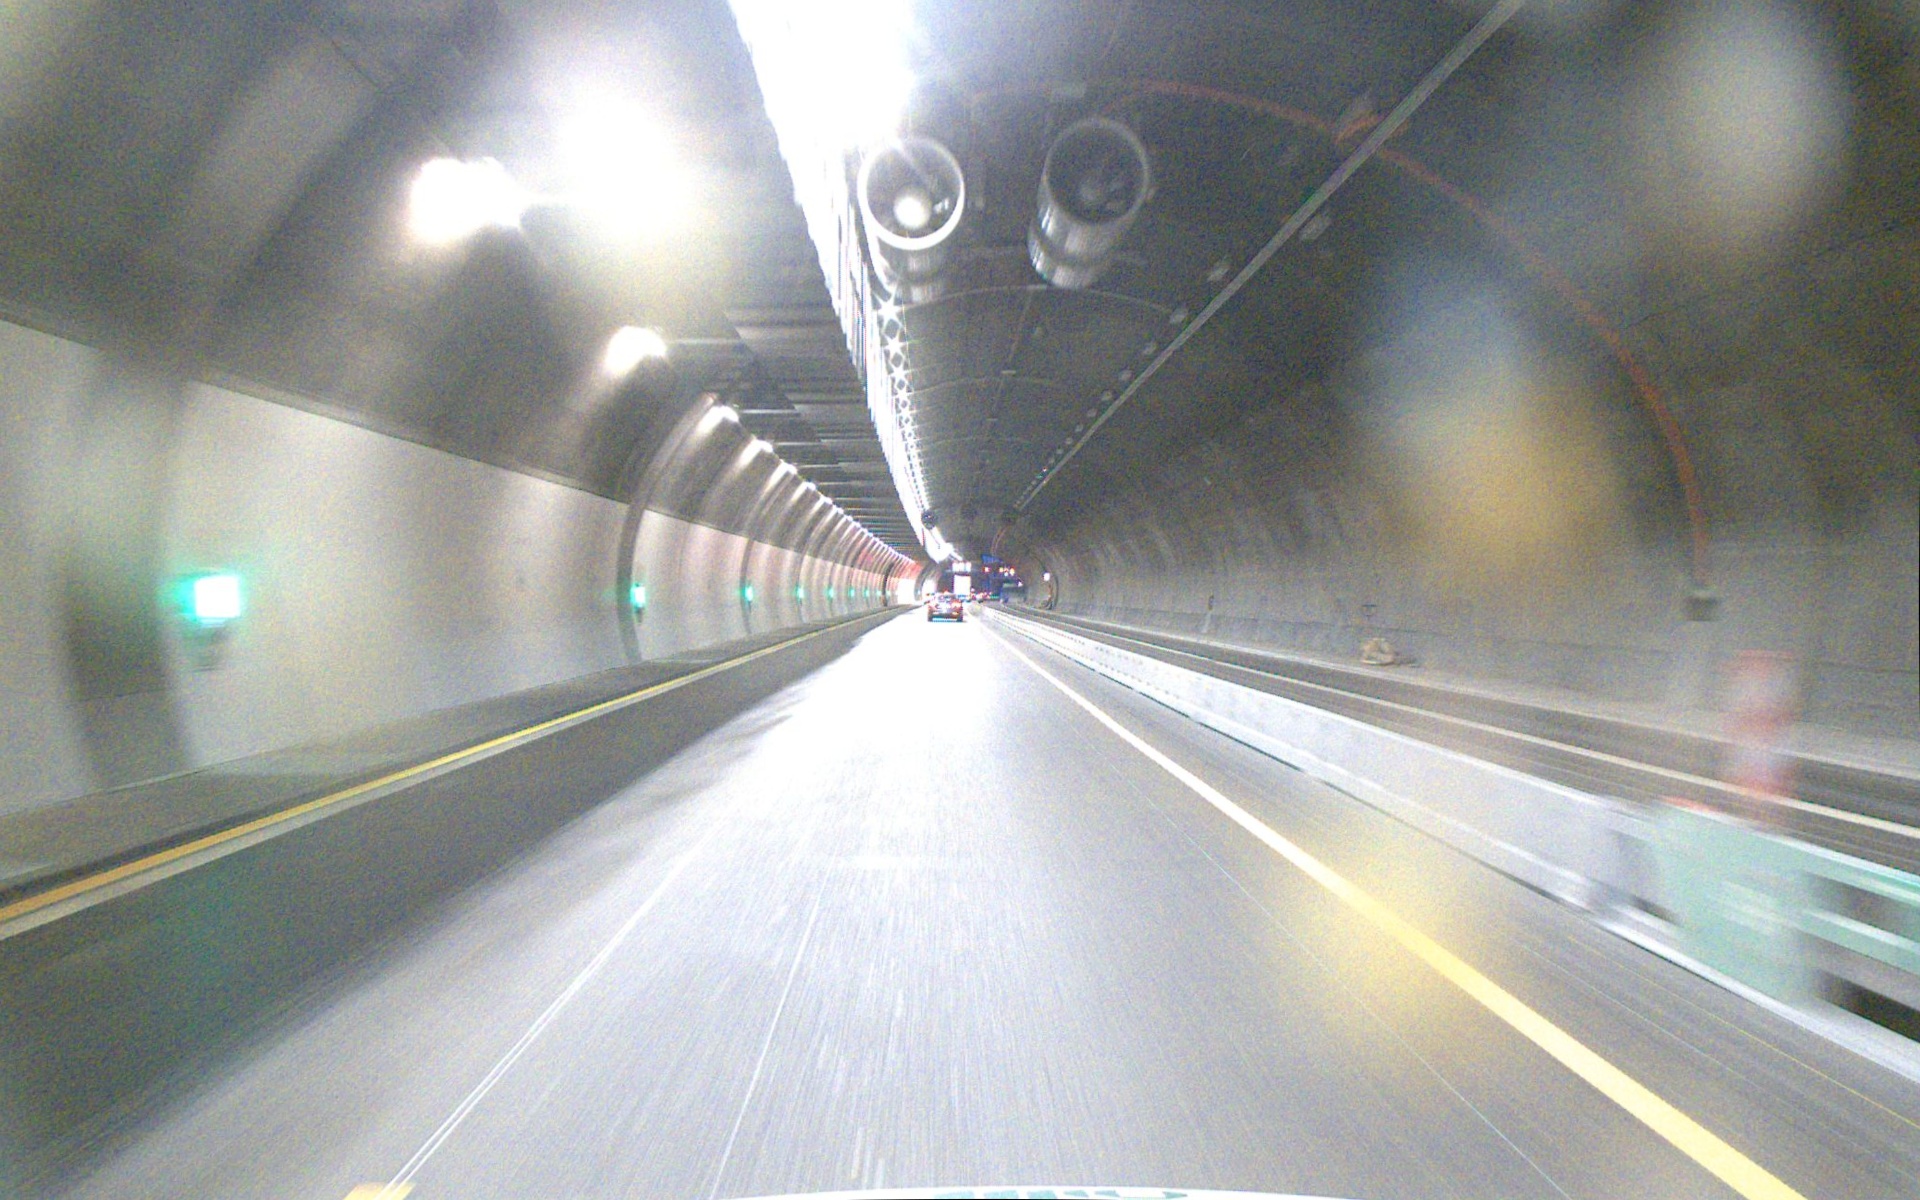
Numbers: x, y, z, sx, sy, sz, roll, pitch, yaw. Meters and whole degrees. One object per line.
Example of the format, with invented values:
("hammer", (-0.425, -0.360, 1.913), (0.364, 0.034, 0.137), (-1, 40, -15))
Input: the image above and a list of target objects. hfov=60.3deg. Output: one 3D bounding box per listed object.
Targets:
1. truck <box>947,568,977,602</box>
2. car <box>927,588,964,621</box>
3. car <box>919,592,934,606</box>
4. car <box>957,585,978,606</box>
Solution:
("truck", (0.336, -2.336, 262.138), (4.452, 5.074, 9.600), (1, 0, 1))
("car", (-0.760, 0.252, 86.935), (1.849, 1.635, 3.999), (1, 0, -1))
("car", (-4.120, -0.152, 204.429), (1.790, 1.635, 3.999), (1, 0, -1))
("car", (0.687, -0.440, 159.805), (1.953, 2.049, 3.999), (1, 0, -1))
